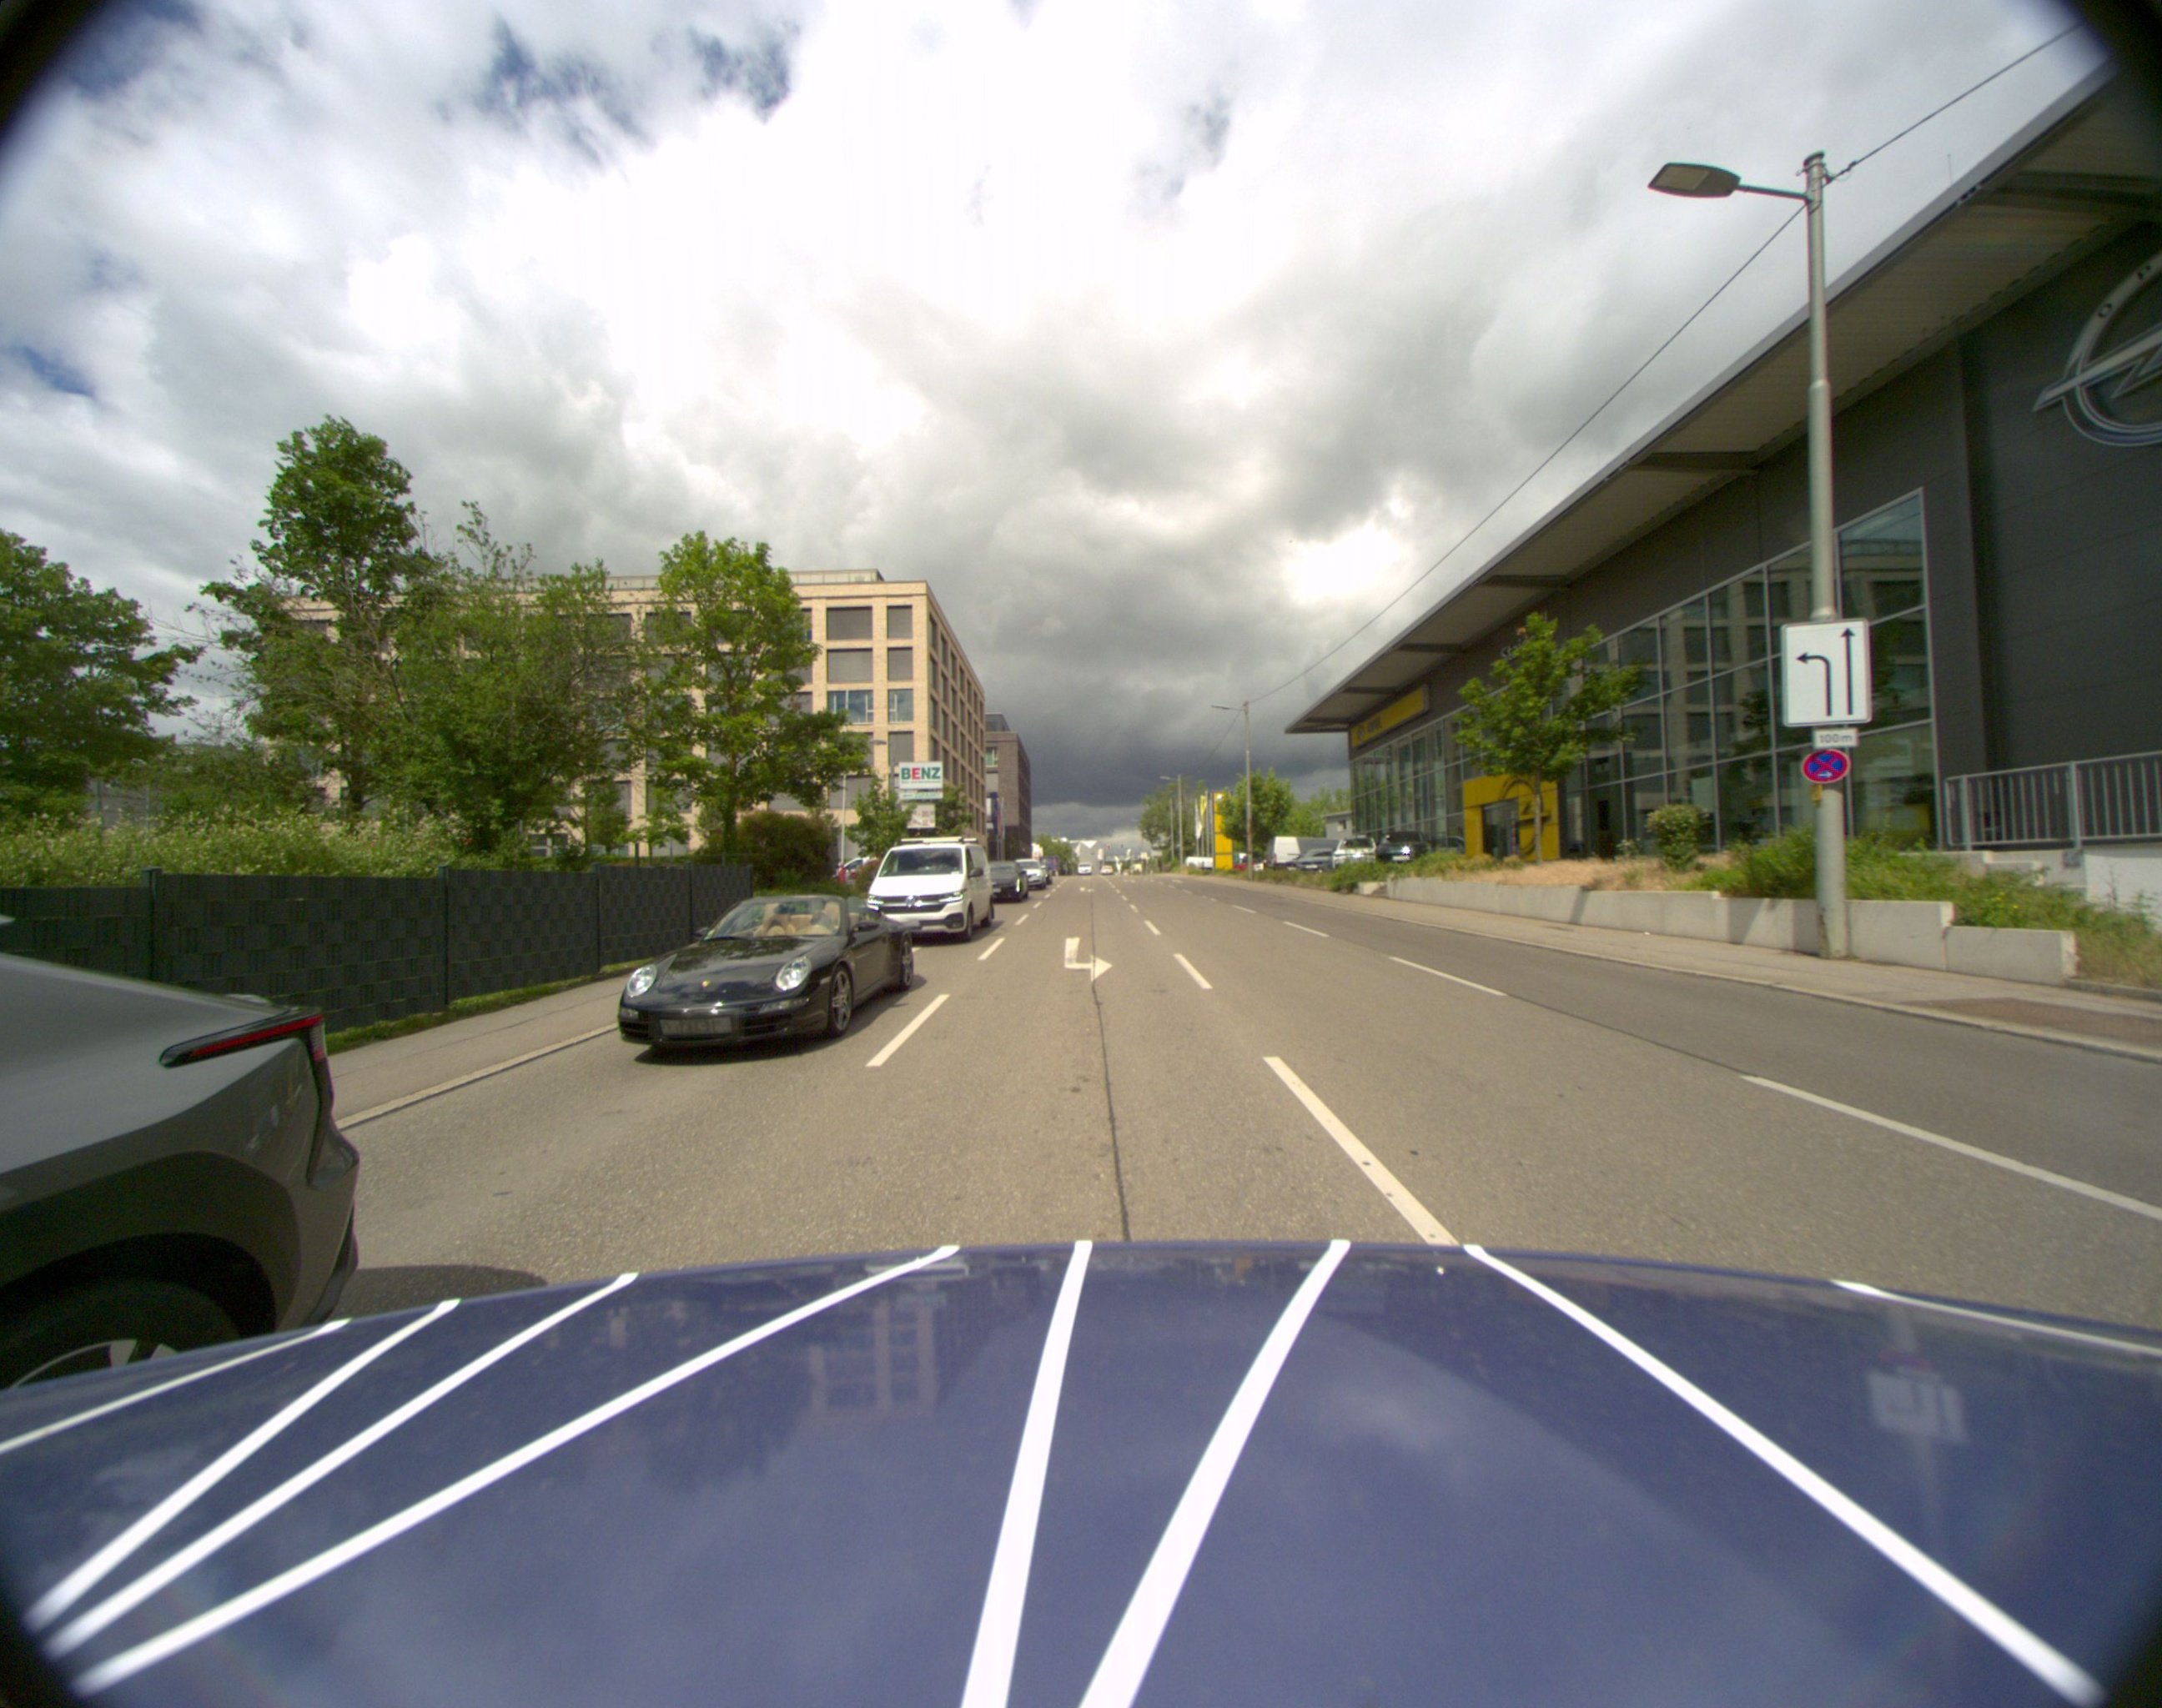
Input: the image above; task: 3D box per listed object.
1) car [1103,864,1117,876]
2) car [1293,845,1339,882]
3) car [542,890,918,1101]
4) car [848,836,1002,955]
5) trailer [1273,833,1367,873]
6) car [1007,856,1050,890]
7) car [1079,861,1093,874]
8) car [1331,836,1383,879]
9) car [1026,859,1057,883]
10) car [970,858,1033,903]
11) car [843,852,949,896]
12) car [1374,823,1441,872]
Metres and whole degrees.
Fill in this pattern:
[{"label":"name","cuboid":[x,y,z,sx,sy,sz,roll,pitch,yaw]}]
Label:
[{"label":"car","cuboid":[4.476,2.468,116.892,1.998,1.731,4.547,-2,0,1]},{"label":"car","cuboid":[12.102,0.471,39.009,1.995,1.783,4.006,-1,0,21]},{"label":"car","cuboid":[-3.043,1.154,7.667,1.824,1.286,4.038,-2,0,1]},{"label":"car","cuboid":[-3.021,0.734,15.884,2.089,2.037,4.760,-2,0,1]},{"label":"trailer","cuboid":[14.446,-0.065,46.169,5.074,2.336,2.000,-1,1,-1]},{"label":"car","cuboid":[-2.598,0.898,38.423,1.818,1.577,4.000,-1,0,1]},{"label":"car","cuboid":[0.761,1.951,110.802,1.998,1.819,4.547,-2,0,2]},{"label":"car","cuboid":[12.163,0.131,33.436,1.995,1.783,4.006,-1,0,21]},{"label":"car","cuboid":[-2.399,1.032,47.061,1.662,1.351,4.000,-1,0,1]},{"label":"car","cuboid":[-2.834,0.914,27.882,1.818,1.454,4.000,-1,0,1]},{"label":"car","cuboid":[-7.633,0.789,31.654,3.998,1.723,1.822,-1,1,-3]},{"label":"car","cuboid":[12.331,-0.250,28.925,1.996,1.718,4.005,-1,0,18]}]
